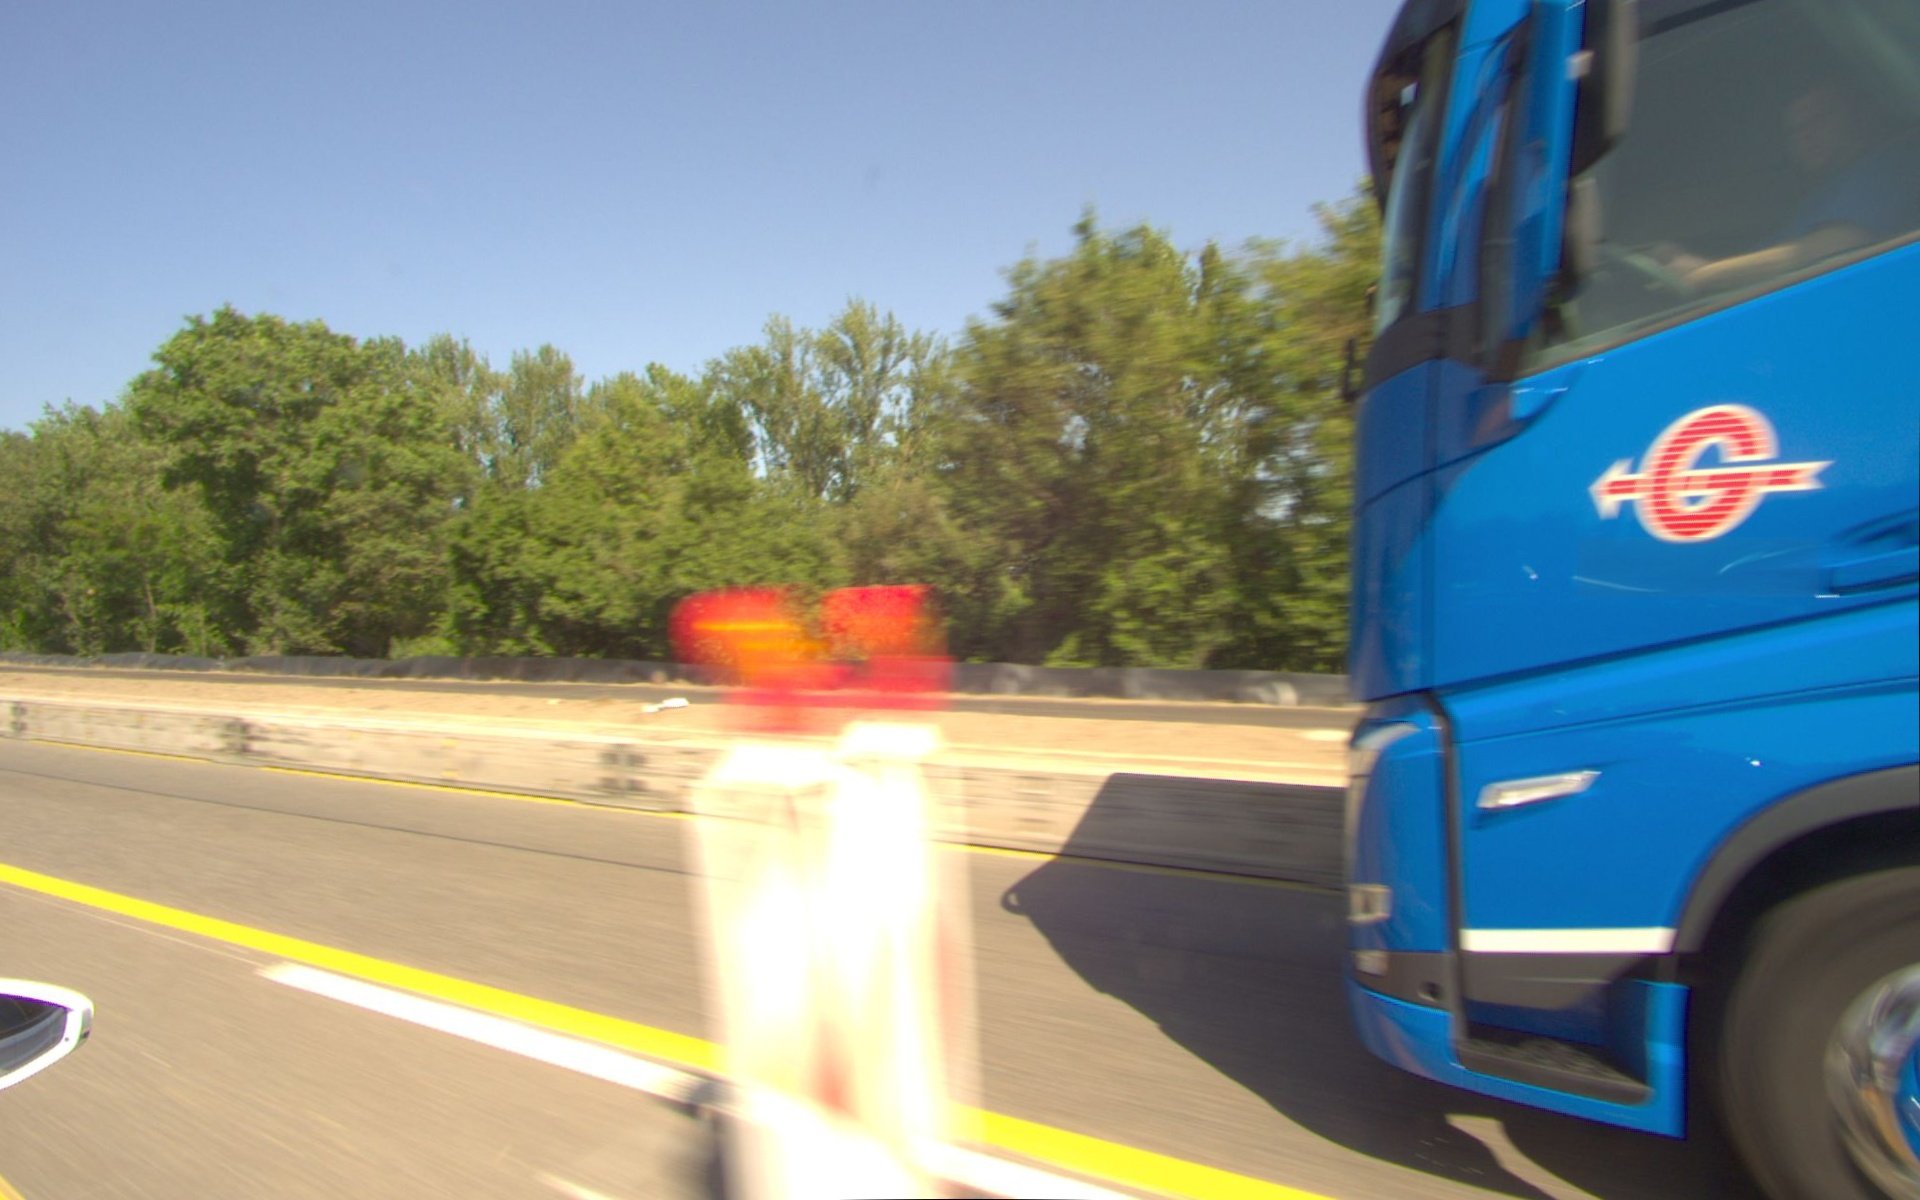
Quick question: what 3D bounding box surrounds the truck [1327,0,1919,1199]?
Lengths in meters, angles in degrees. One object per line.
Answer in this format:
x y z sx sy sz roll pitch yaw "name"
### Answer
4.640 -0.579 1.819 7.187 4.158 2.691 -1 2 28 "truck"
